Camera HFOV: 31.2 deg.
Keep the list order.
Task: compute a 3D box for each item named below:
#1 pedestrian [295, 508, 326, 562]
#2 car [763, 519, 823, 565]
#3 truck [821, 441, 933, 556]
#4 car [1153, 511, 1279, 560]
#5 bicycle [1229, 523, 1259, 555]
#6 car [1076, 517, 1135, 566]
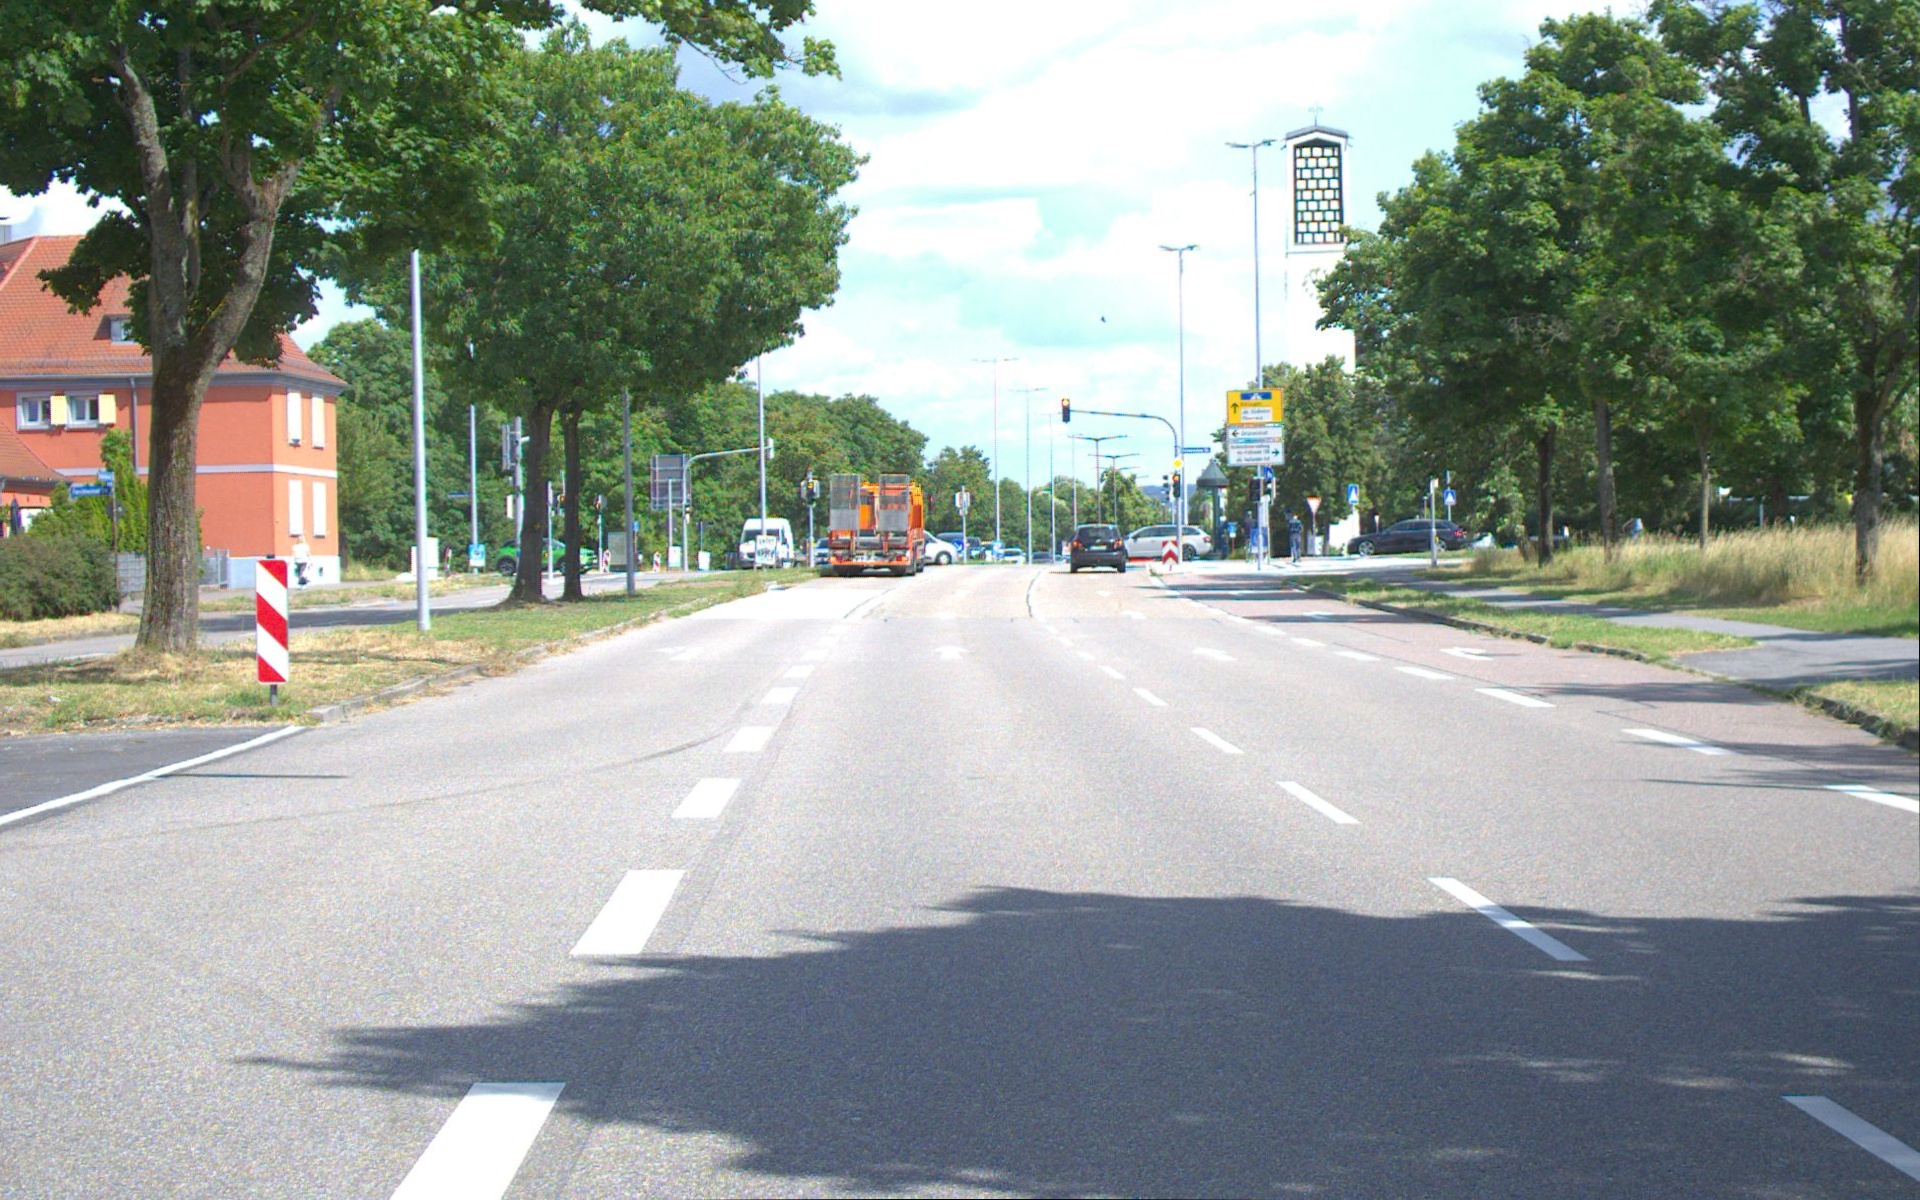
[{"bbox_3d":[-19.195,-1.921,101.634,0.696,1.578,0.851,1,0,1],"label":"pedestrian"},{"bbox_3d":[-5.966,-2.063,123.480,1.732,1.503,4.652,-4,0,1],"label":"car"},{"bbox_3d":[-2.598,-3.192,111.318,3.071,3.402,11.068,1,0,1],"label":"truck"},{"bbox_3d":[7.962,-2.009,107.010,3.571,1.437,1.476,1,0,-16],"label":"car"},{"bbox_3d":[10.221,-2.179,123.782,0.648,1.104,1.926,1,0,17],"label":"bicycle"},{"bbox_3d":[4.704,-1.887,111.674,1.799,1.547,4.000,1,0,1],"label":"car"}]
